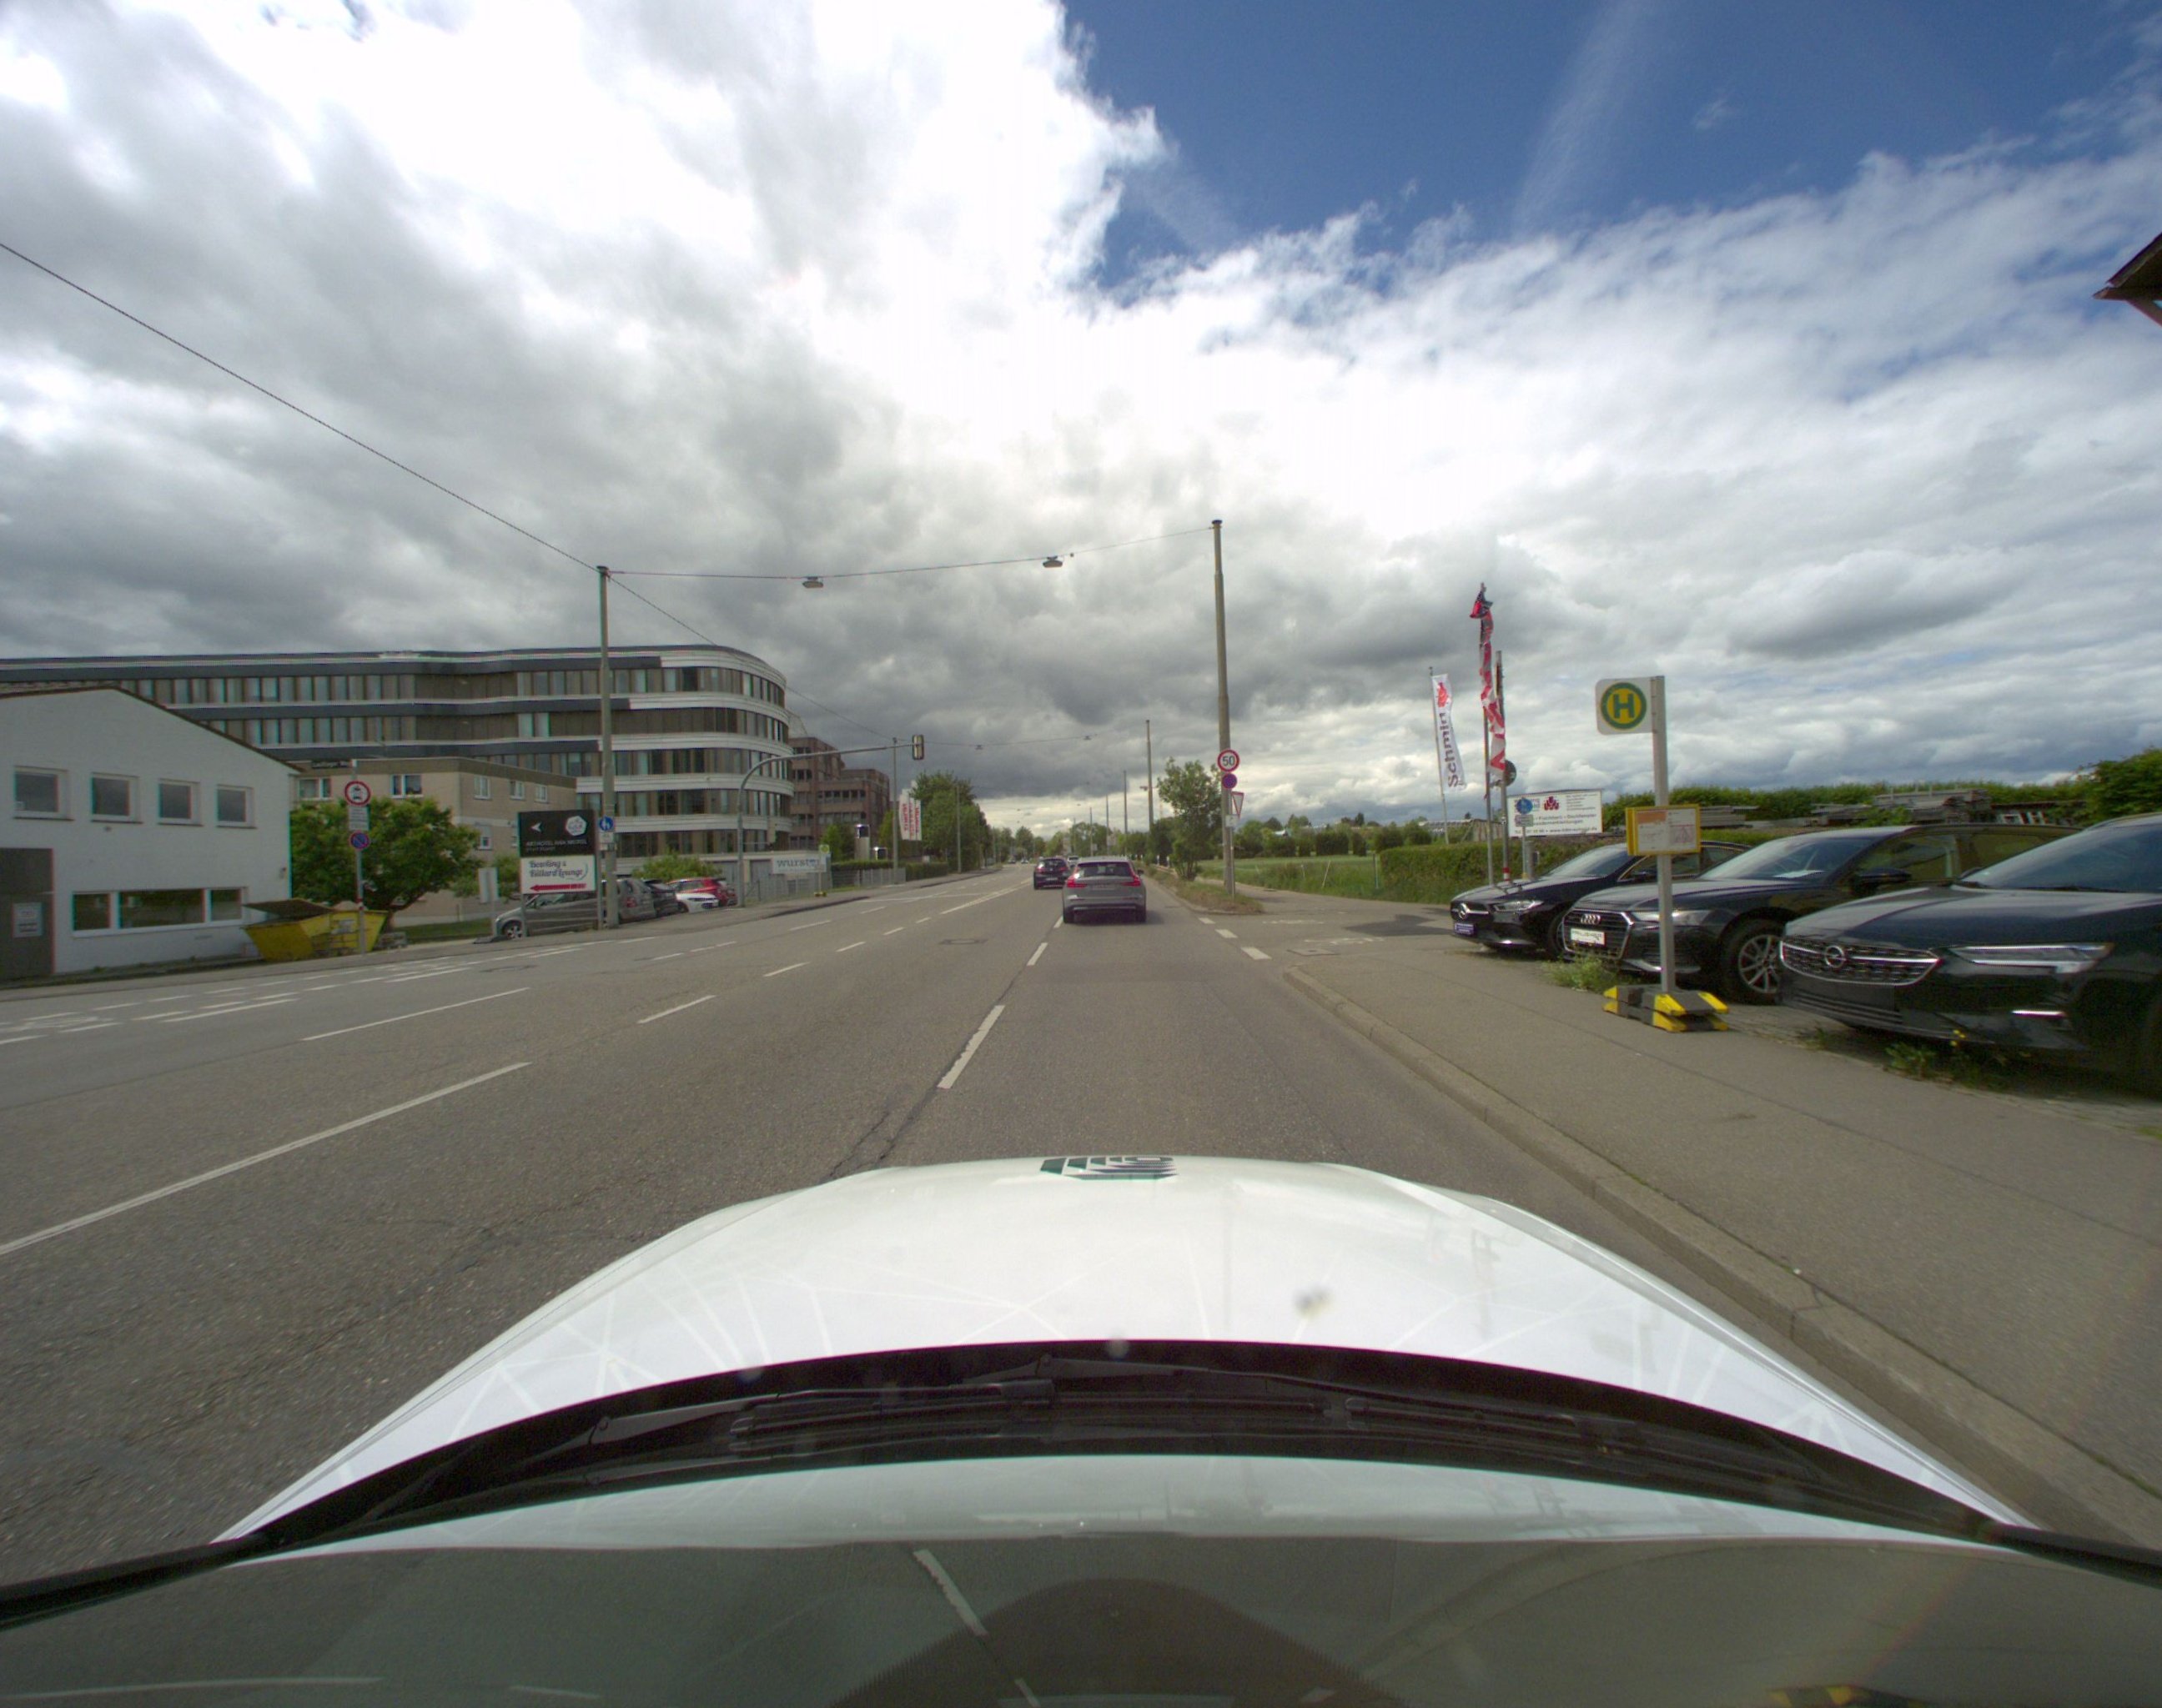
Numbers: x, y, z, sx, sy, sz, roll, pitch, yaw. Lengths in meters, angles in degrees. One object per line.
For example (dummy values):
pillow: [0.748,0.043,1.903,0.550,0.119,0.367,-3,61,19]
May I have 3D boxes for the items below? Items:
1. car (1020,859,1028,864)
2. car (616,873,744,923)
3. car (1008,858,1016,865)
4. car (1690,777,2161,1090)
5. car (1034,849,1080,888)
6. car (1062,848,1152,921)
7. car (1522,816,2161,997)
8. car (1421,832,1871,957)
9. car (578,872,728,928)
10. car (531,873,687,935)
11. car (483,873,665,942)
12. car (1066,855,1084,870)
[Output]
car: [-15.645,2.058,222.988,1.876,1.520,3.998,0,-1,-1]
car: [-15.843,1.724,32.328,3.976,1.369,1.847,-8,-1,-1]
car: [-19.064,2.034,224.411,1.876,1.717,3.998,0,-1,-1]
car: [6.724,0.368,4.851,4.658,1.493,2.016,0,0,2]
car: [-1.079,0.654,37.675,1.988,1.717,3.998,0,-1,-1]
car: [0.629,0.679,19.209,1.888,1.554,4.002,0,-1,2]
car: [7.010,0.423,7.478,4.834,1.430,2.039,0,0,1]
car: [6.856,0.487,10.273,4.308,1.398,2.003,0,-2,-1]
car: [-15.467,1.635,29.625,4.217,1.387,1.981,-8,-1,-5]
car: [-15.694,1.633,27.244,3.976,1.424,1.854,-8,-1,-1]
car: [-15.265,1.574,24.730,4.089,1.397,1.904,-8,1,-6]
car: [-0.709,1.031,94.457,1.987,1.695,4.000,0,-1,1]
